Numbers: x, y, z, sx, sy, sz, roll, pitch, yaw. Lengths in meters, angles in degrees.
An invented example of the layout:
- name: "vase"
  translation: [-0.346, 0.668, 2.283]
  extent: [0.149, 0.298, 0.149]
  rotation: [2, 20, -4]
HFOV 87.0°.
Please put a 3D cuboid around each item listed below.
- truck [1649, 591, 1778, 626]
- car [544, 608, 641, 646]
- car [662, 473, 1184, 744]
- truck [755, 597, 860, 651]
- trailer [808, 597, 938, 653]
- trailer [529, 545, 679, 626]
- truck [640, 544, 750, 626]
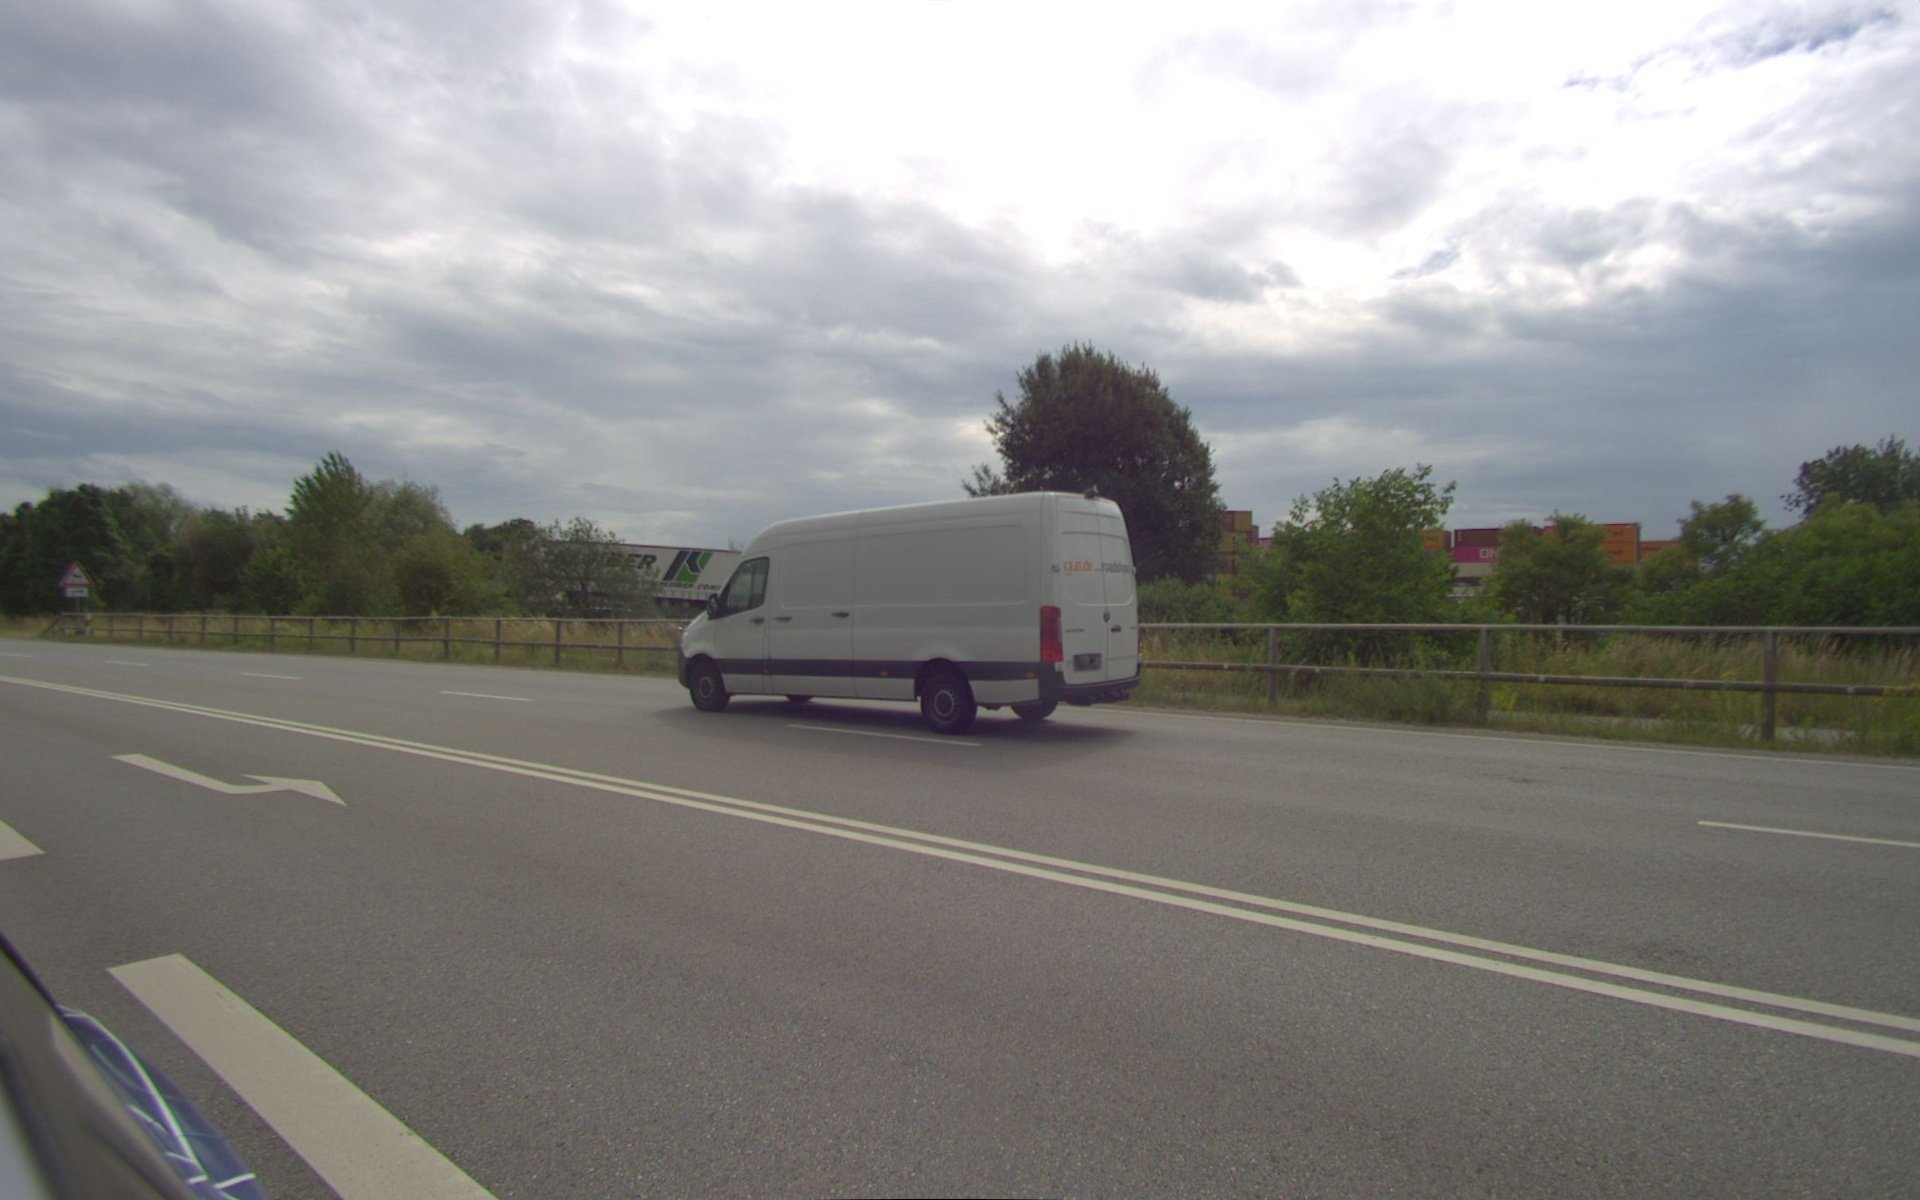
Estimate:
- name: "truck"
  translation: [45.944, 0.491, 61.811]
  extent: [6.228, 2.029, 1.973]
  rotation: [1, 1, 41]
- name: "car"
  translation: [-19.168, 1.369, 52.806]
  extent: [4.468, 1.890, 2.006]
  rotation: [0, 0, -31]
- name: "car"
  translation: [-0.794, 0.124, 13.144]
  extent: [6.879, 2.695, 2.410]
  rotation: [-1, -1, 39]
- name: "truck"
  translation: [-12.756, 1.986, 84.721]
  extent: [8.265, 4.325, 3.217]
  rotation: [-1, -1, 23]
- name: "trailer"
  translation: [-7.118, 1.988, 82.283]
  extent: [10.337, 4.325, 3.217]
  rotation: [-1, -1, 23]
- name: "trailer"
  translation: [-22.814, -0.878, 64.978]
  extent: [8.883, 5.034, 2.799]
  rotation: [0, 0, 9]
- name: "truck"
  translation: [-16.703, -0.917, 63.955]
  extent: [6.120, 5.034, 2.797]
  rotation: [0, 0, 9]
